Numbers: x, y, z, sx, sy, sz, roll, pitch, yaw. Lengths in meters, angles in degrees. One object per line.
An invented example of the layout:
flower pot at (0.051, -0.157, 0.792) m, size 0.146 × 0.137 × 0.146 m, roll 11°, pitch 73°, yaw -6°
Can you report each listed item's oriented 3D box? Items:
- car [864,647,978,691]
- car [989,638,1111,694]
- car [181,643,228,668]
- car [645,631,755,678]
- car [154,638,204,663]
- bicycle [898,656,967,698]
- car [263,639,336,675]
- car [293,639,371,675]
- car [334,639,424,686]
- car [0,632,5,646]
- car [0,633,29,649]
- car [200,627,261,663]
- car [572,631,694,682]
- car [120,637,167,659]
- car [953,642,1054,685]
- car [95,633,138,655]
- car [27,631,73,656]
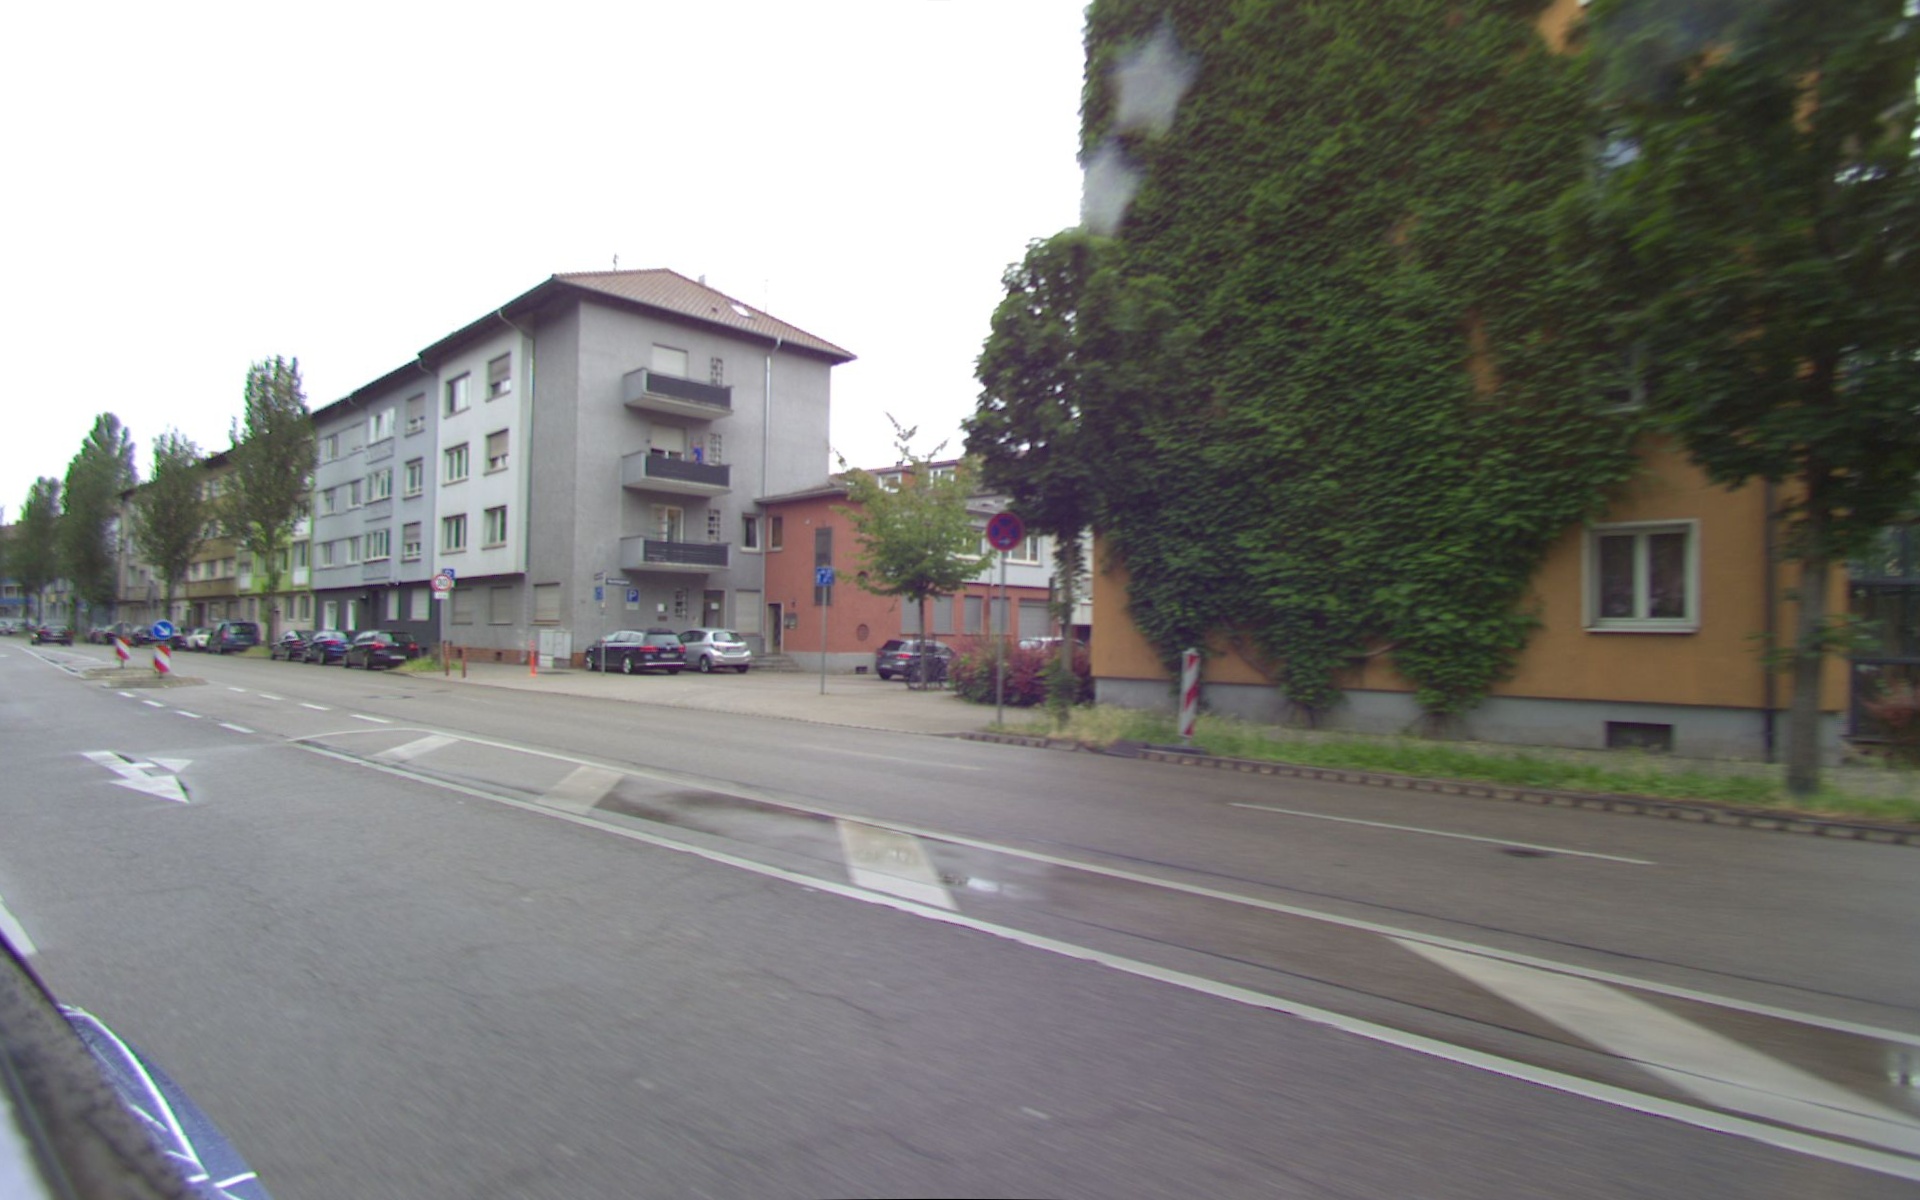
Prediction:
car at (-1.363, 2.481, 36.472) m, size 1.904 × 1.423 × 3.946 m, roll 0°, pitch -3°, yaw 40°
car at (2.853, 2.046, 31.469) m, size 1.900 × 1.604 × 3.947 m, roll -4°, pitch -5°, yaw 39°
car at (-43.639, 3.182, 58.434) m, size 3.447 × 1.388 × 1.526 m, roll -3°, pitch -5°, yaw 43°
car at (-9.136, 1.889, 35.352) m, size 4.230 × 1.537 × 1.710 m, roll -1°, pitch -4°, yaw 44°
car at (-47.481, 3.070, 61.514) m, size 4.251 × 1.356 × 1.527 m, roll -1°, pitch -5°, yaw 41°
bicycle at (-0.761, 2.076, 27.537) m, size 1.931 × 1.066 × 0.525 m, roll -1°, pitch -3°, yaw 35°
car at (-29.798, 2.573, 45.595) m, size 4.315 × 1.492 × 1.703 m, roll -2°, pitch -5°, yaw 43°
car at (-25.844, 2.335, 41.617) m, size 3.926 × 1.394 × 1.703 m, roll -2°, pitch -4°, yaw 43°
car at (-21.671, 2.278, 37.677) m, size 4.249 × 1.556 × 1.826 m, roll -1°, pitch 0°, yaw 44°
car at (-107.411, 4.268, 111.884) m, size 4.164 × 1.579 × 1.847 m, roll -1°, pitch -3°, yaw 35°
car at (-98.679, 4.243, 105.386) m, size 4.167 × 1.579 × 1.845 m, roll -1°, pitch -4°, yaw 37°
car at (-39.563, 2.403, 54.853) m, size 4.315 × 1.884 × 1.879 m, roll -1°, pitch -3°, yaw 43°
car at (-10.834, 1.804, 33.365) m, size 4.636 × 1.497 × 1.830 m, roll -1°, pitch 0°, yaw 44°
car at (-56.288, 3.296, 69.766) m, size 3.999 × 1.524 × 1.843 m, roll -2°, pitch -4°, yaw 42°
car at (1.766, 2.528, 40.104) m, size 1.925 × 1.497 × 3.946 m, roll 2°, pitch -2°, yaw 41°
car at (-63.043, 3.273, 75.641) m, size 4.172 × 1.579 × 1.843 m, roll -2°, pitch -4°, yaw 42°
car at (-58.573, 2.824, 65.130) m, size 4.290 × 1.527 × 1.791 m, roll -2°, pitch -5°, yaw 44°
